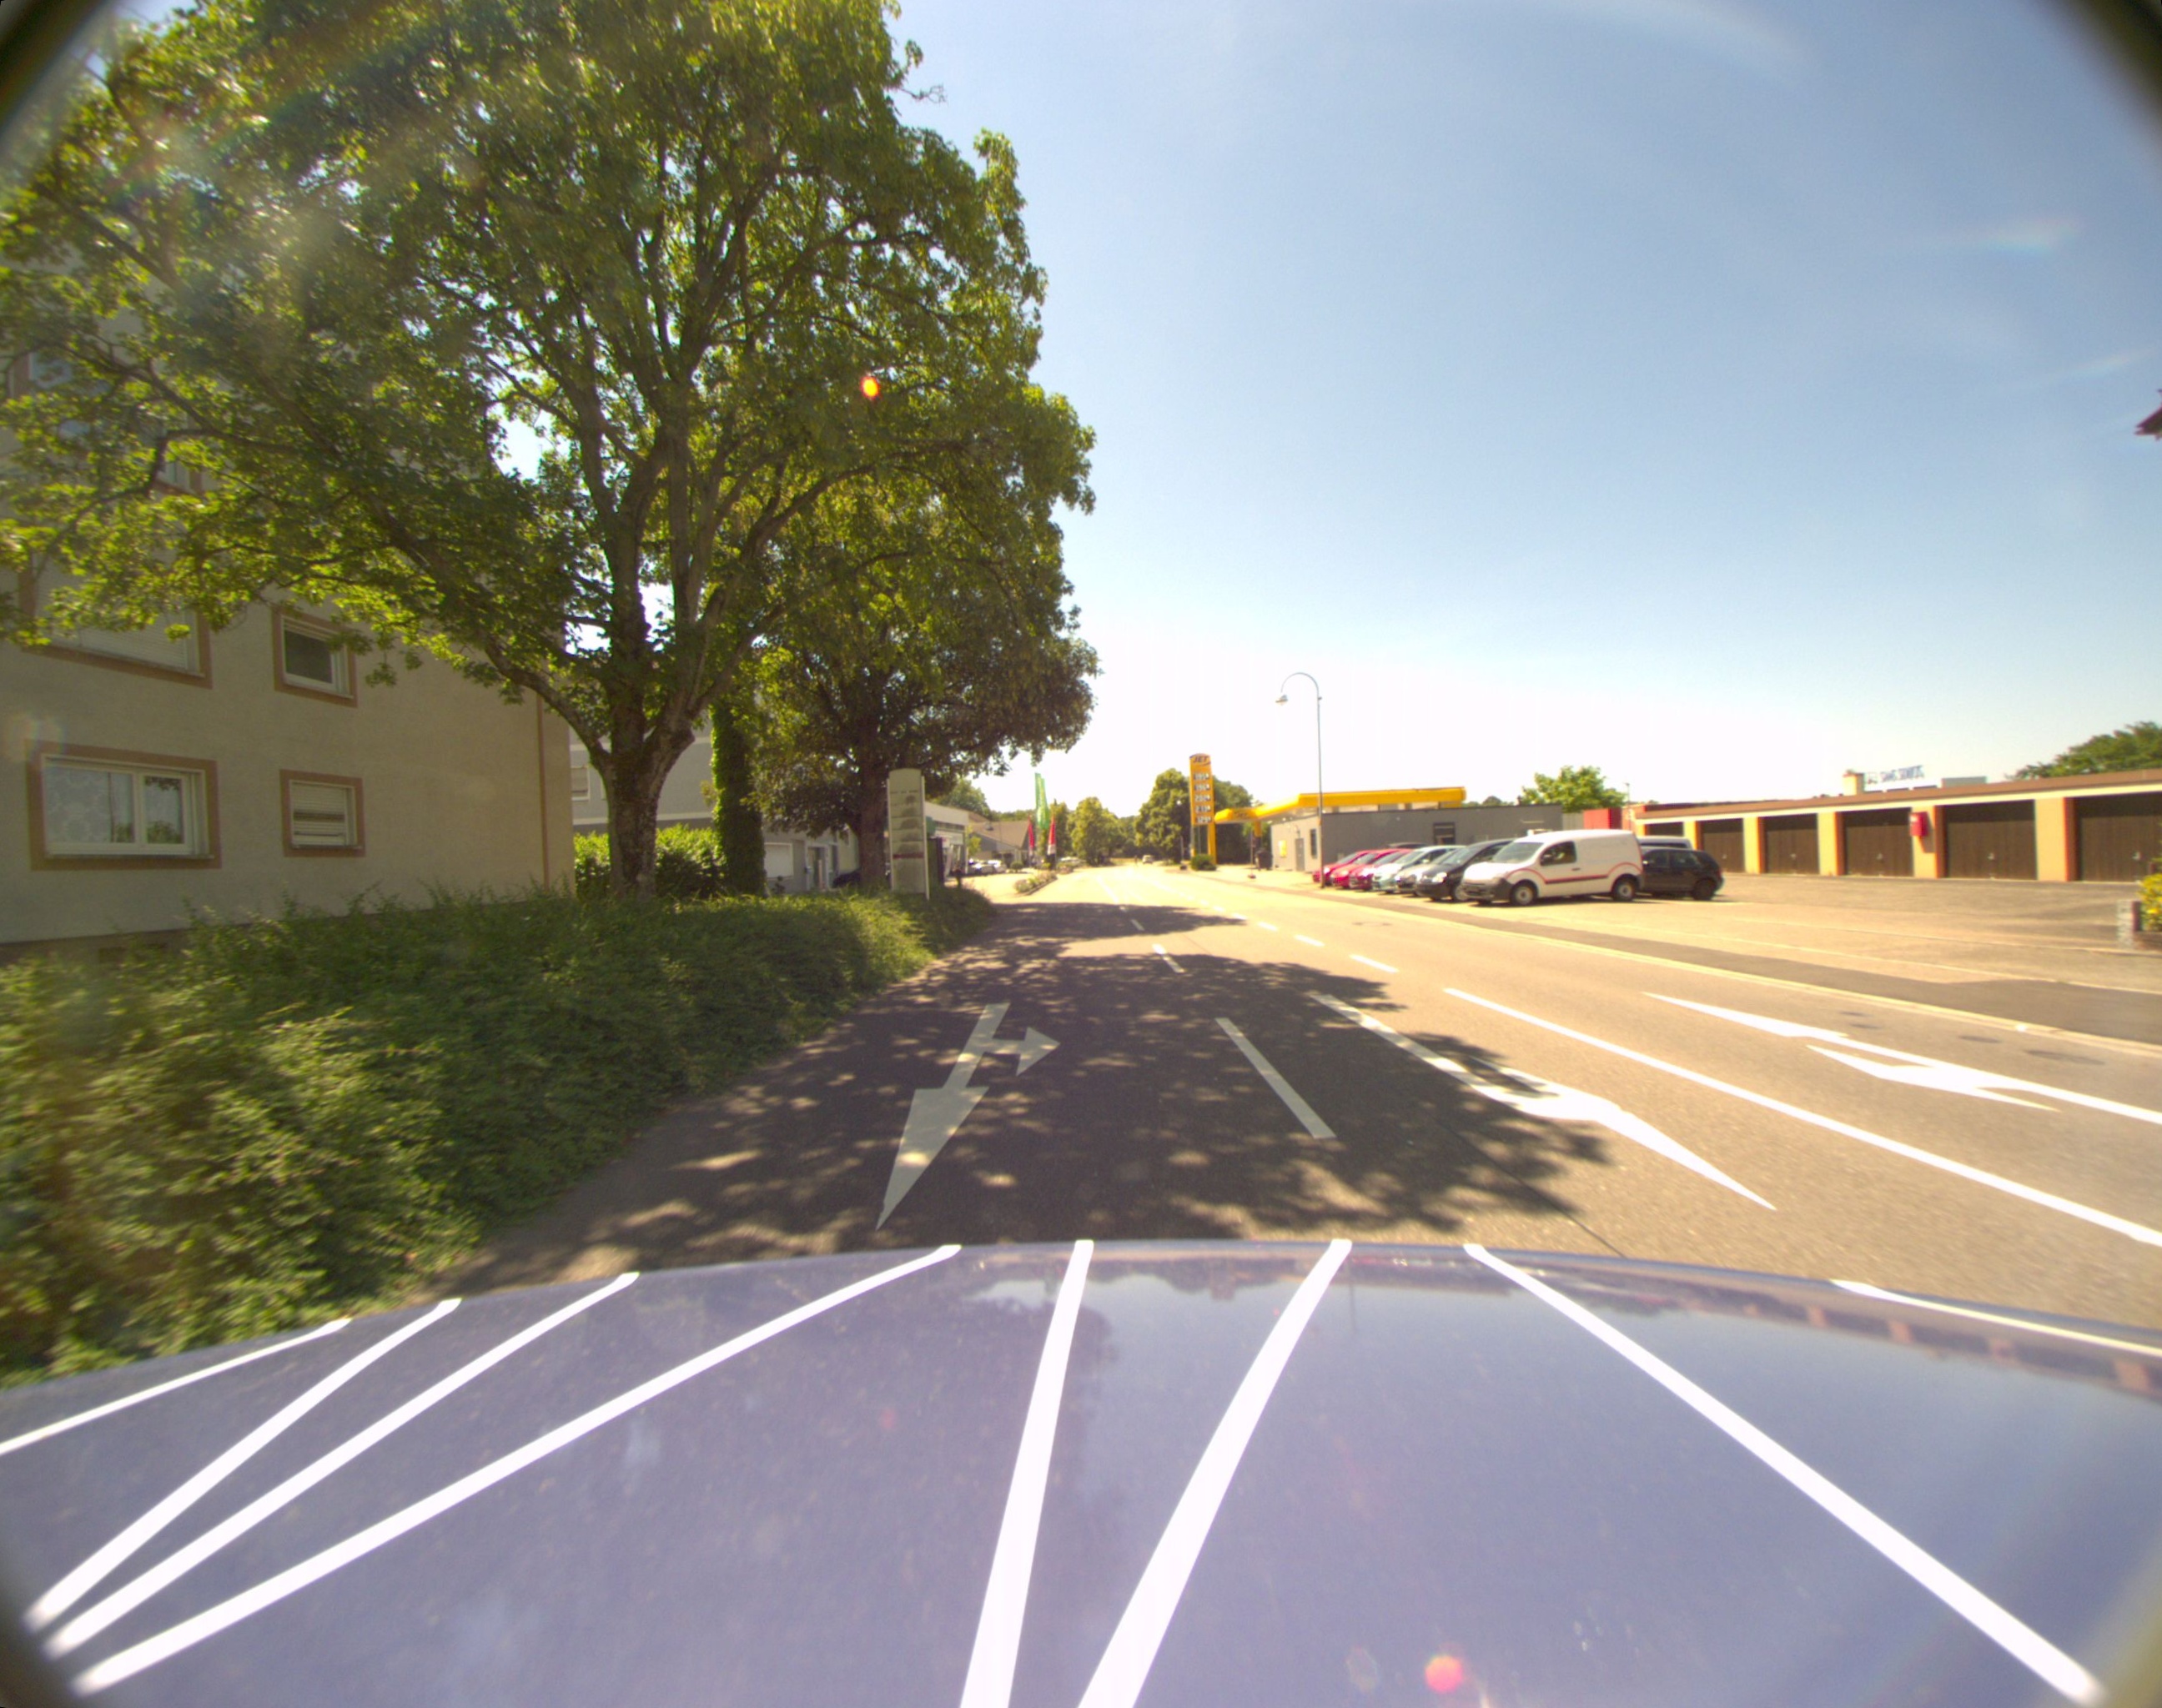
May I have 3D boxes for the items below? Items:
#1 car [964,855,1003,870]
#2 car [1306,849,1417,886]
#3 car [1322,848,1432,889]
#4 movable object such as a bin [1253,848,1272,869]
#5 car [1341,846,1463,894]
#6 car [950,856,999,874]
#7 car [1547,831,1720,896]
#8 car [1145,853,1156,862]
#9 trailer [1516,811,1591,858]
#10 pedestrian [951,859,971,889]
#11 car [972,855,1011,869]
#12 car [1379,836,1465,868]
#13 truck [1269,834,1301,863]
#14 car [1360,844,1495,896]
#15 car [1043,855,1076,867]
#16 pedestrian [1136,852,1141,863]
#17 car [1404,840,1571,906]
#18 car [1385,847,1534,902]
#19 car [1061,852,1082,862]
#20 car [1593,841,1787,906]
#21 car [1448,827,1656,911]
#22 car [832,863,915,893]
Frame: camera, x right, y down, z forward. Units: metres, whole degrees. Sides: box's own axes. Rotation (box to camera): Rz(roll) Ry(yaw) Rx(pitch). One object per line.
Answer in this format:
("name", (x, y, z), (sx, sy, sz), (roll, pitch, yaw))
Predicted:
("car", (-10.897, 0.916, 84.934), (3.859, 1.524, 1.680), (-1, 1, 19))
("car", (12.101, 0.565, 32.952), (4.136, 1.435, 1.826), (-2, 1, 0))
("car", (11.869, 0.563, 30.617), (3.673, 1.449, 1.892), (-2, 1, -2))
("movable object such as a bin", (13.443, 0.340, 56.281), (0.954, 1.508, 1.428), (-6, -1, 1))
("car", (11.823, 0.571, 28.117), (3.673, 1.596, 1.881), (-2, 1, -2))
("car", (-11.148, 1.147, 79.535), (4.586, 1.632, 2.003), (-2, 1, 20))
("car", (17.080, 0.282, 23.632), (3.912, 1.850, 2.000), (-1, 0, -1))
("car", (13.564, 0.681, 147.805), (1.973, 1.662, 4.250), (-2, 0, 5))
("trailer", (34.850, -1.335, 56.276), (1.869, 3.200, 5.914), (-2, 0, 1))
("pedestrian", (-6.823, 1.122, 43.246), (0.842, 1.632, 1.010), (-2, 1, 5))
("car", (-10.269, 0.868, 86.864), (3.992, 1.452, 1.807), (-2, 1, 16))
("car", (18.886, -0.102, 42.201), (3.996, 1.575, 1.754), (-2, 1, 3))
("truck", (19.957, -0.543, 74.654), (2.237, 2.583, 6.735), (-2, 1, 9))
("car", (11.737, 0.526, 25.922), (3.673, 1.572, 1.922), (-2, 1, -2))
("car", (-3.166, 1.000, 112.842), (4.522, 1.658, 1.895), (-2, 0, 9))
("pedestrian", (9.024, 0.575, 119.059), (0.730, 1.779, 0.621), (-2, 1, 14))
("car", (11.430, 0.508, 21.546), (3.673, 1.663, 1.922), (-2, 1, -2))
("car", (11.788, 0.599, 23.816), (3.673, 1.523, 1.922), (-2, 1, -2))
("car", (-1.503, 0.523, 125.438), (3.405, 1.497, 1.582), (-2, 0, 2))
("car", (17.140, 0.530, 21.517), (3.997, 1.559, 1.830), (-3, 0, -1))
("car", (11.949, 0.354, 19.447), (4.105, 1.887, 1.999), (-2, 1, -4))
("car", (-11.267, 1.293, 41.489), (3.997, 1.541, 1.797), (-1, 1, 0))
